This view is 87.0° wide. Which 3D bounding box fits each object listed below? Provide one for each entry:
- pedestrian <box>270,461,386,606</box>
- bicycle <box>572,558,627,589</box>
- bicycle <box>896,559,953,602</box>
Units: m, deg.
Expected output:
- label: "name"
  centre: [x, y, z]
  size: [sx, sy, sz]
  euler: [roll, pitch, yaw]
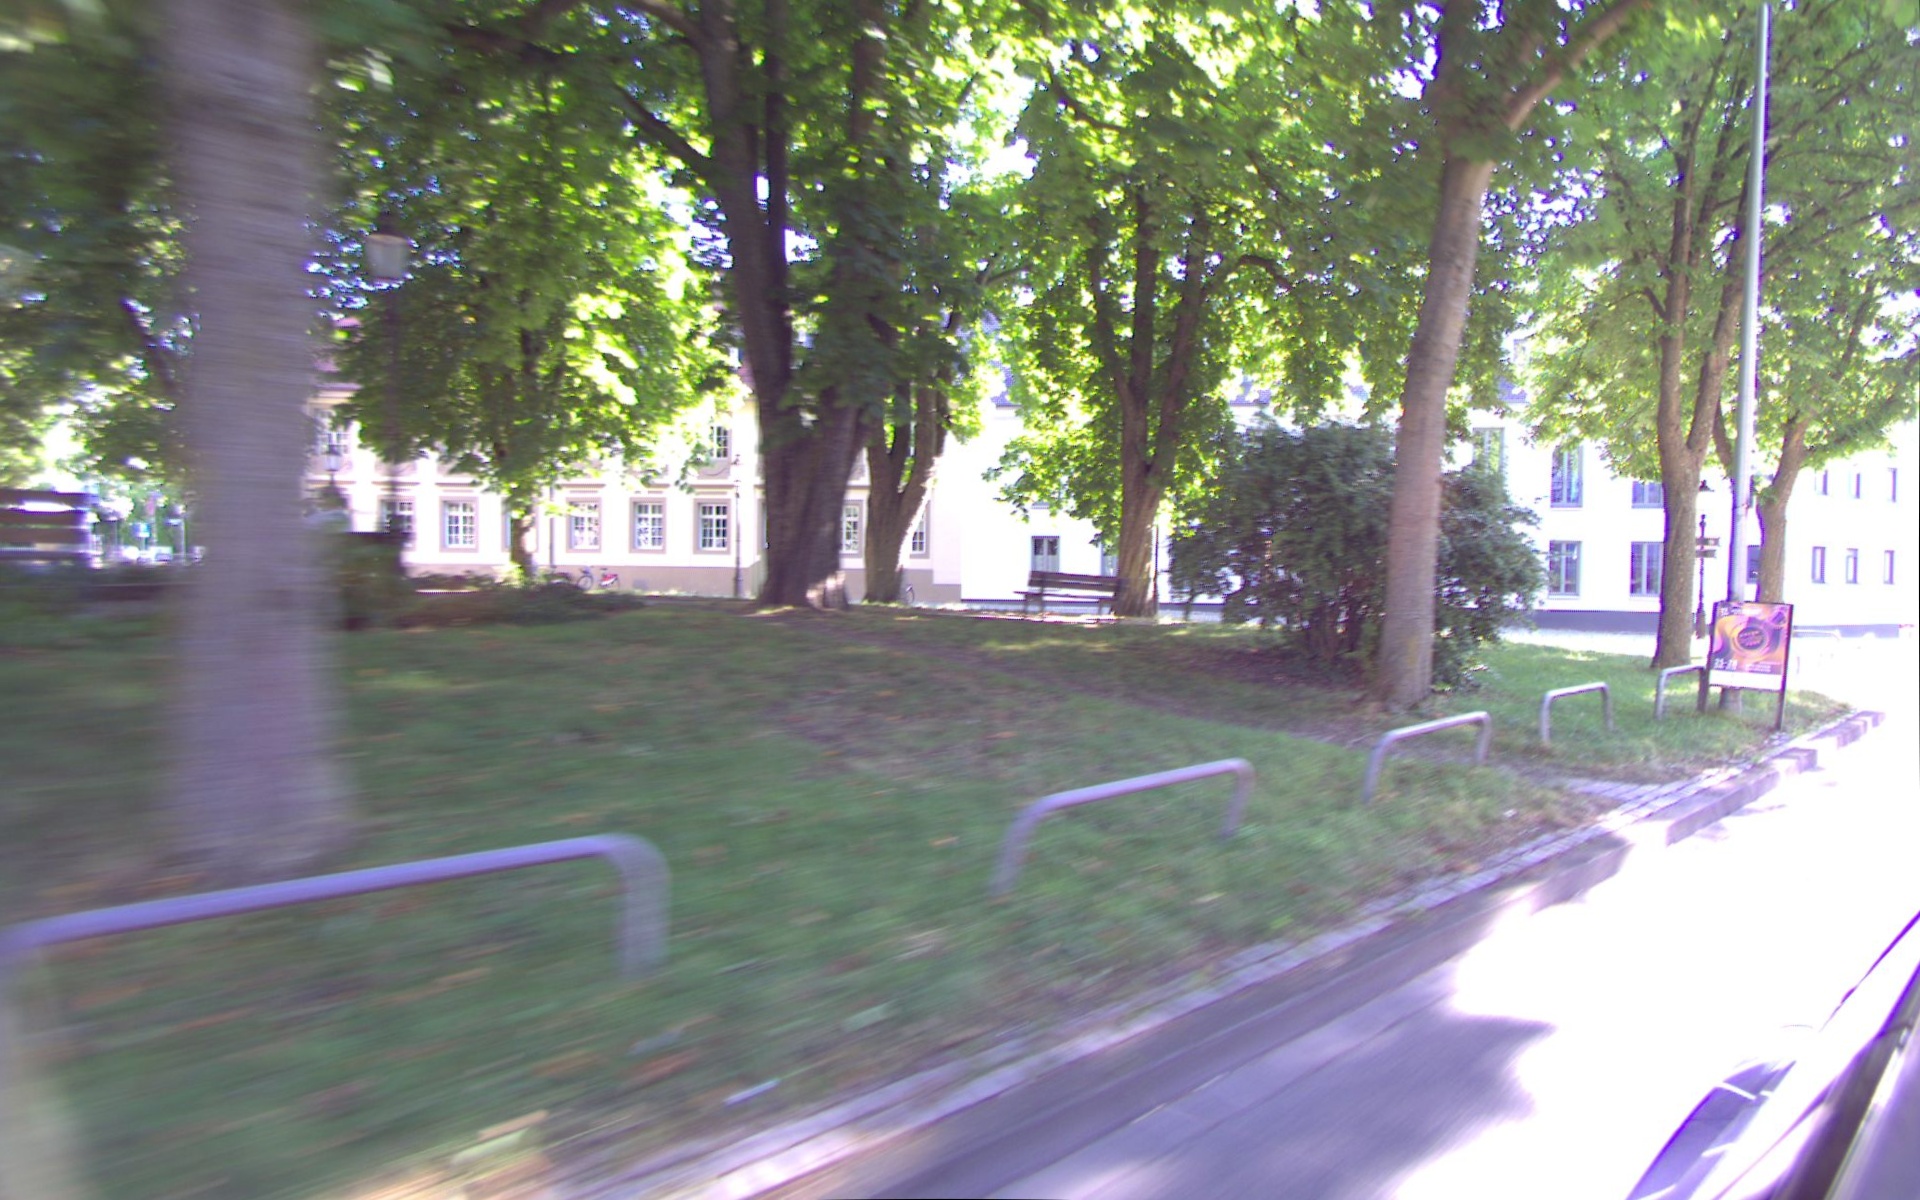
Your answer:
- label: "pedestrian"
  centre: [-6.110, -0.640, 9.798]
  size: [0.688, 1.334, 0.677]
  euler: [3, 3, 22]
- label: "bicycle"
  centre: [-12.963, -0.969, 36.385]
  size: [1.735, 1.045, 0.721]
  euler: [2, 2, 9]
- label: "bicycle"
  centre: [-1.183, -0.660, 33.615]
  size: [1.741, 1.333, 0.718]
  euler: [2, 2, 19]
